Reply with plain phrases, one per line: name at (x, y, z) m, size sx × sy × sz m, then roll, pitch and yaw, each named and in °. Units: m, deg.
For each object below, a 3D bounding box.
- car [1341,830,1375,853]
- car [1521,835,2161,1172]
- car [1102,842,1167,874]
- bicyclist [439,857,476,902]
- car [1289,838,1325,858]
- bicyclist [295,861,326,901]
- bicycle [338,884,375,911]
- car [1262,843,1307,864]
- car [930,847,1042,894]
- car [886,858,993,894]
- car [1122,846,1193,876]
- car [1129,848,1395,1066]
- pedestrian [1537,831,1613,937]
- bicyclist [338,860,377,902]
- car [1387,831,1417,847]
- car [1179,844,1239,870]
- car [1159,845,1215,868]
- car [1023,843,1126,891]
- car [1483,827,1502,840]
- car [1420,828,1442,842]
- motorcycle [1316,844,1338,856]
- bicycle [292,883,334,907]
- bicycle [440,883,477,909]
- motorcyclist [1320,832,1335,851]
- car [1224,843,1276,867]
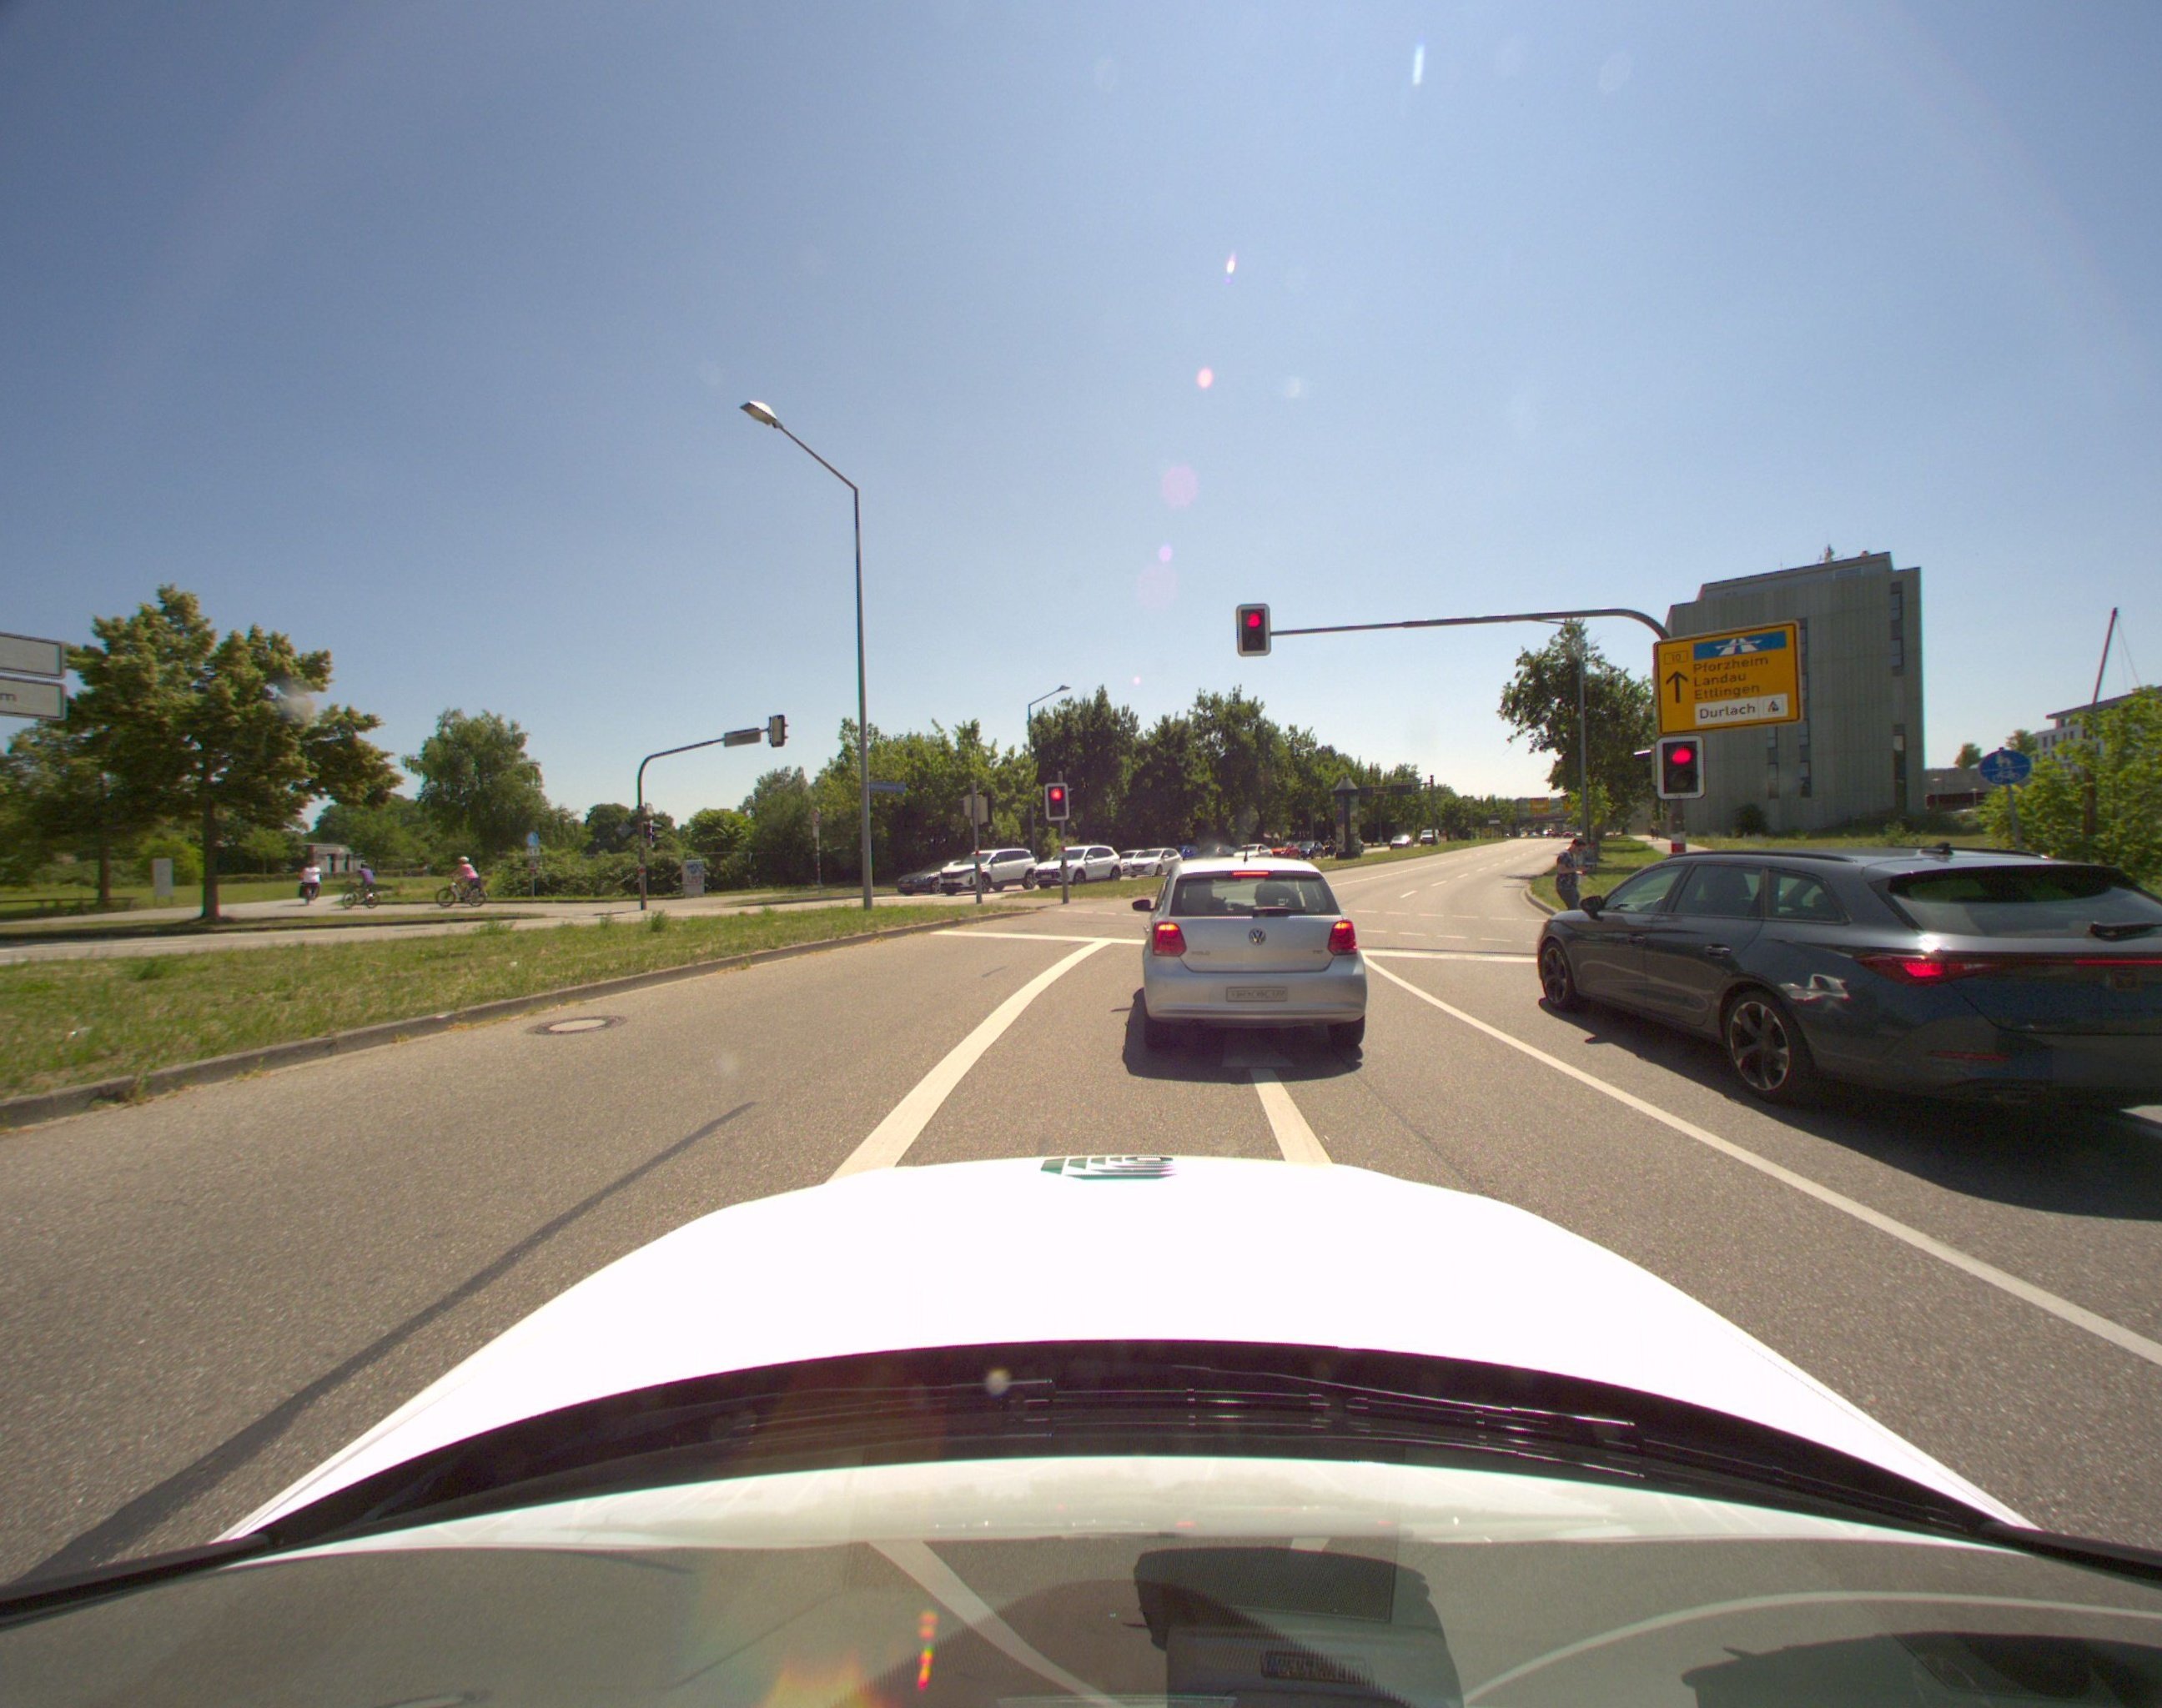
car at (25.986, -1.201, 76.317) m, size 1.974 × 2.014 × 4.026 m, roll -3°, pitch -1°, yaw 32°
car at (4.956, 0.611, 5.683) m, size 1.981 × 1.418 × 4.468 m, roll -2°, pitch 1°, yaw 10°
car at (3.187, 0.207, 47.763) m, size 1.840 × 1.683 × 4.437 m, roll -1°, pitch 1°, yaw 34°
bicyclist at (-23.457, 0.966, 30.639) m, size 0.965 × 1.610 × 1.171 m, roll -2°, pitch -1°, yaw -43°
car at (18.119, -0.476, 65.183) m, size 1.698 × 1.475 × 3.821 m, roll -3°, pitch -1°, yaw 32°
bicyclist at (-32.001, 1.112, 33.819) m, size 0.965 × 1.614 × 0.761 m, roll -3°, pitch -1°, yaw 39°
bicycle at (-27.443, 1.641, 30.877) m, size 0.903 × 0.900 × 1.743 m, roll 0°, pitch 1°, yaw -37°
car at (15.278, -0.076, 60.997) m, size 1.840 × 1.422 × 4.437 m, roll -1°, pitch 1°, yaw 34°
car at (-3.582, 0.599, 31.494) m, size 1.840 × 1.618 × 4.437 m, roll -1°, pitch 1°, yaw 34°
car at (-5.840, 0.881, 34.093) m, size 1.840 × 1.270 × 4.437 m, roll -1°, pitch 1°, yaw 34°
car at (4.160, 0.339, 43.752) m, size 1.840 × 1.422 × 4.437 m, roll -1°, pitch 1°, yaw 34°
car at (1.371, 0.701, 7.596) m, size 1.768 × 1.422 × 4.004 m, roll -2°, pitch 1°, yaw 4°
pedestrian at (7.977, 0.475, 13.142) m, size 0.944 × 1.637 × 0.762 m, roll -3°, pitch -1°, yaw 34°
bicyclist at (-27.436, 1.003, 30.896) m, size 0.964 × 1.531 × 1.172 m, roll -2°, pitch 1°, yaw -38°
car at (32.328, -1.543, 81.971) m, size 1.951 × 1.488 × 4.026 m, roll -1°, pitch 1°, yaw 33°
car at (7.785, 0.151, 49.158) m, size 1.840 × 1.422 × 4.437 m, roll -1°, pitch 1°, yaw 34°
car at (7.057, 0.143, 53.799) m, size 1.840 × 1.422 × 4.437 m, roll -1°, pitch 1°, yaw 34°
car at (-0.176, 0.456, 31.989) m, size 1.840 × 1.683 × 4.437 m, roll -1°, pitch 1°, yaw 34°
car at (58.574, -2.959, 115.863) m, size 1.783 × 1.692 × 4.169 m, roll -3°, pitch -1°, yaw 34°
car at (42.403, -2.296, 98.547) m, size 1.845 × 1.554 × 4.026 m, roll -1°, pitch 1°, yaw 32°
motorcycle at (21.099, -0.383, 69.828) m, size 0.886 × 0.952 × 2.834 m, roll -3°, pitch -1°, yaw 36°
bicycle at (-31.809, 1.703, 33.703) m, size 2.891 × 0.912 × 0.745 m, roll -3°, pitch -1°, yaw 37°
bicycle at (-23.475, 1.575, 30.715) m, size 0.903 × 0.900 × 2.199 m, roll 0°, pitch -1°, yaw -43°
motorcyclist at (21.151, -1.095, 69.961) m, size 0.897 × 1.586 × 1.017 m, roll -3°, pitch -1°, yaw 35°
car at (11.451, 0.052, 54.968) m, size 1.840 × 1.422 × 4.437 m, roll -1°, pitch 1°, yaw 34°
